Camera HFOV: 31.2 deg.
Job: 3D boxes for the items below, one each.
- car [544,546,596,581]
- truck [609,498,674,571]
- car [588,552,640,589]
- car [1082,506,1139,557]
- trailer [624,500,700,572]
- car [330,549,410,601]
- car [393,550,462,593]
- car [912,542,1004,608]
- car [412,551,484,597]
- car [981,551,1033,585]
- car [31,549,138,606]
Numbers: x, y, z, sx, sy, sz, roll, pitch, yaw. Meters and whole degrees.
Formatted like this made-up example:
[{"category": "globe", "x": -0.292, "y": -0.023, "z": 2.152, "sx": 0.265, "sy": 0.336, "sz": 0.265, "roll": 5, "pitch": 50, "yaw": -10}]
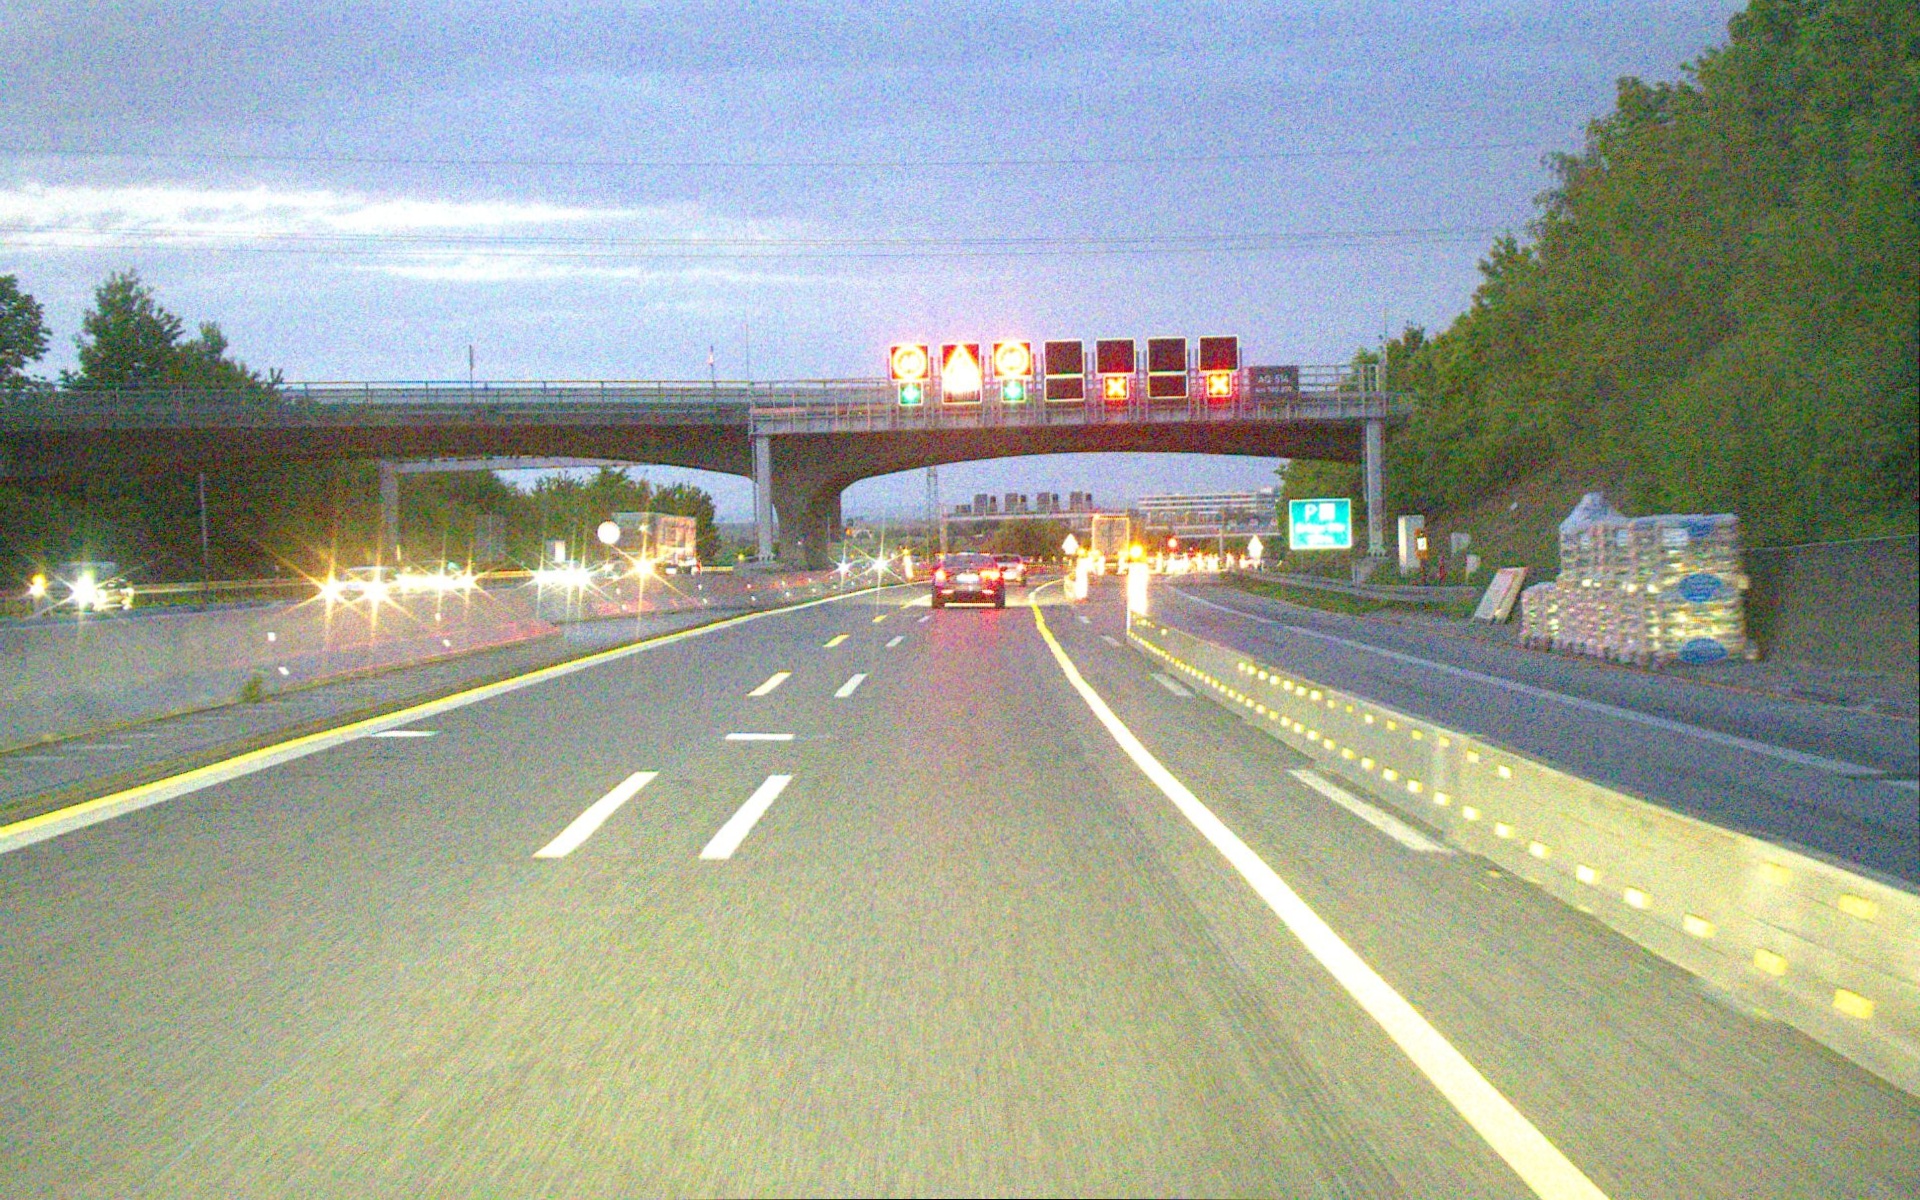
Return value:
[{"category": "car", "x": -18.467, "y": -1.733, "z": 162.831, "sx": 1.591, "sy": 1.598, "sz": 5.033, "roll": 1, "pitch": 1, "yaw": 3}, {"category": "truck", "x": -18.607, "y": -3.780, "z": 201.053, "sx": 2.777, "sy": 4.157, "sz": 6.385, "roll": 1, "pitch": 1, "yaw": 3}, {"category": "car", "x": -15.860, "y": -1.369, "z": 157.777, "sx": 1.736, "sy": 1.632, "sz": 4.891, "roll": 1, "pitch": 1, "yaw": 2}, {"category": "car", "x": 10.414, "y": -4.705, "z": 238.152, "sx": 3.605, "sy": 3.384, "sz": 8.014, "roll": 1, "pitch": 1, "yaw": 1}, {"category": "trailer", "x": -18.078, "y": -3.855, "z": 209.424, "sx": 2.779, "sy": 4.191, "sz": 12.401, "roll": 1, "pitch": 1, "yaw": 3}, {"category": "car", "x": -19.373, "y": -0.822, "z": 113.054, "sx": 1.679, "sy": 1.632, "sz": 4.751, "roll": 1, "pitch": 1, "yaw": 2}, {"category": "car", "x": -20.944, "y": -1.130, "z": 135.309, "sx": 1.736, "sy": 1.632, "sz": 5.170, "roll": 1, "pitch": 1, "yaw": 2}, {"category": "car", "x": -0.088, "y": -0.645, "z": 88.365, "sx": 2.265, "sy": 1.616, "sz": 4.000, "roll": 1, "pitch": 1, "yaw": -1}, {"category": "car", "x": -18.914, "y": -0.974, "z": 127.153, "sx": 1.804, "sy": 1.632, "sz": 4.751, "roll": 1, "pitch": 1, "yaw": 2}, {"category": "car", "x": 2.056, "y": -1.402, "z": 149.341, "sx": 1.972, "sy": 1.432, "sz": 3.999, "roll": 1, "pitch": 1, "yaw": 5}, {"category": "car", "x": -25.948, "y": -0.679, "z": 102.018, "sx": 1.804, "sy": 1.632, "sz": 4.751, "roll": 1, "pitch": 1, "yaw": 2}]
